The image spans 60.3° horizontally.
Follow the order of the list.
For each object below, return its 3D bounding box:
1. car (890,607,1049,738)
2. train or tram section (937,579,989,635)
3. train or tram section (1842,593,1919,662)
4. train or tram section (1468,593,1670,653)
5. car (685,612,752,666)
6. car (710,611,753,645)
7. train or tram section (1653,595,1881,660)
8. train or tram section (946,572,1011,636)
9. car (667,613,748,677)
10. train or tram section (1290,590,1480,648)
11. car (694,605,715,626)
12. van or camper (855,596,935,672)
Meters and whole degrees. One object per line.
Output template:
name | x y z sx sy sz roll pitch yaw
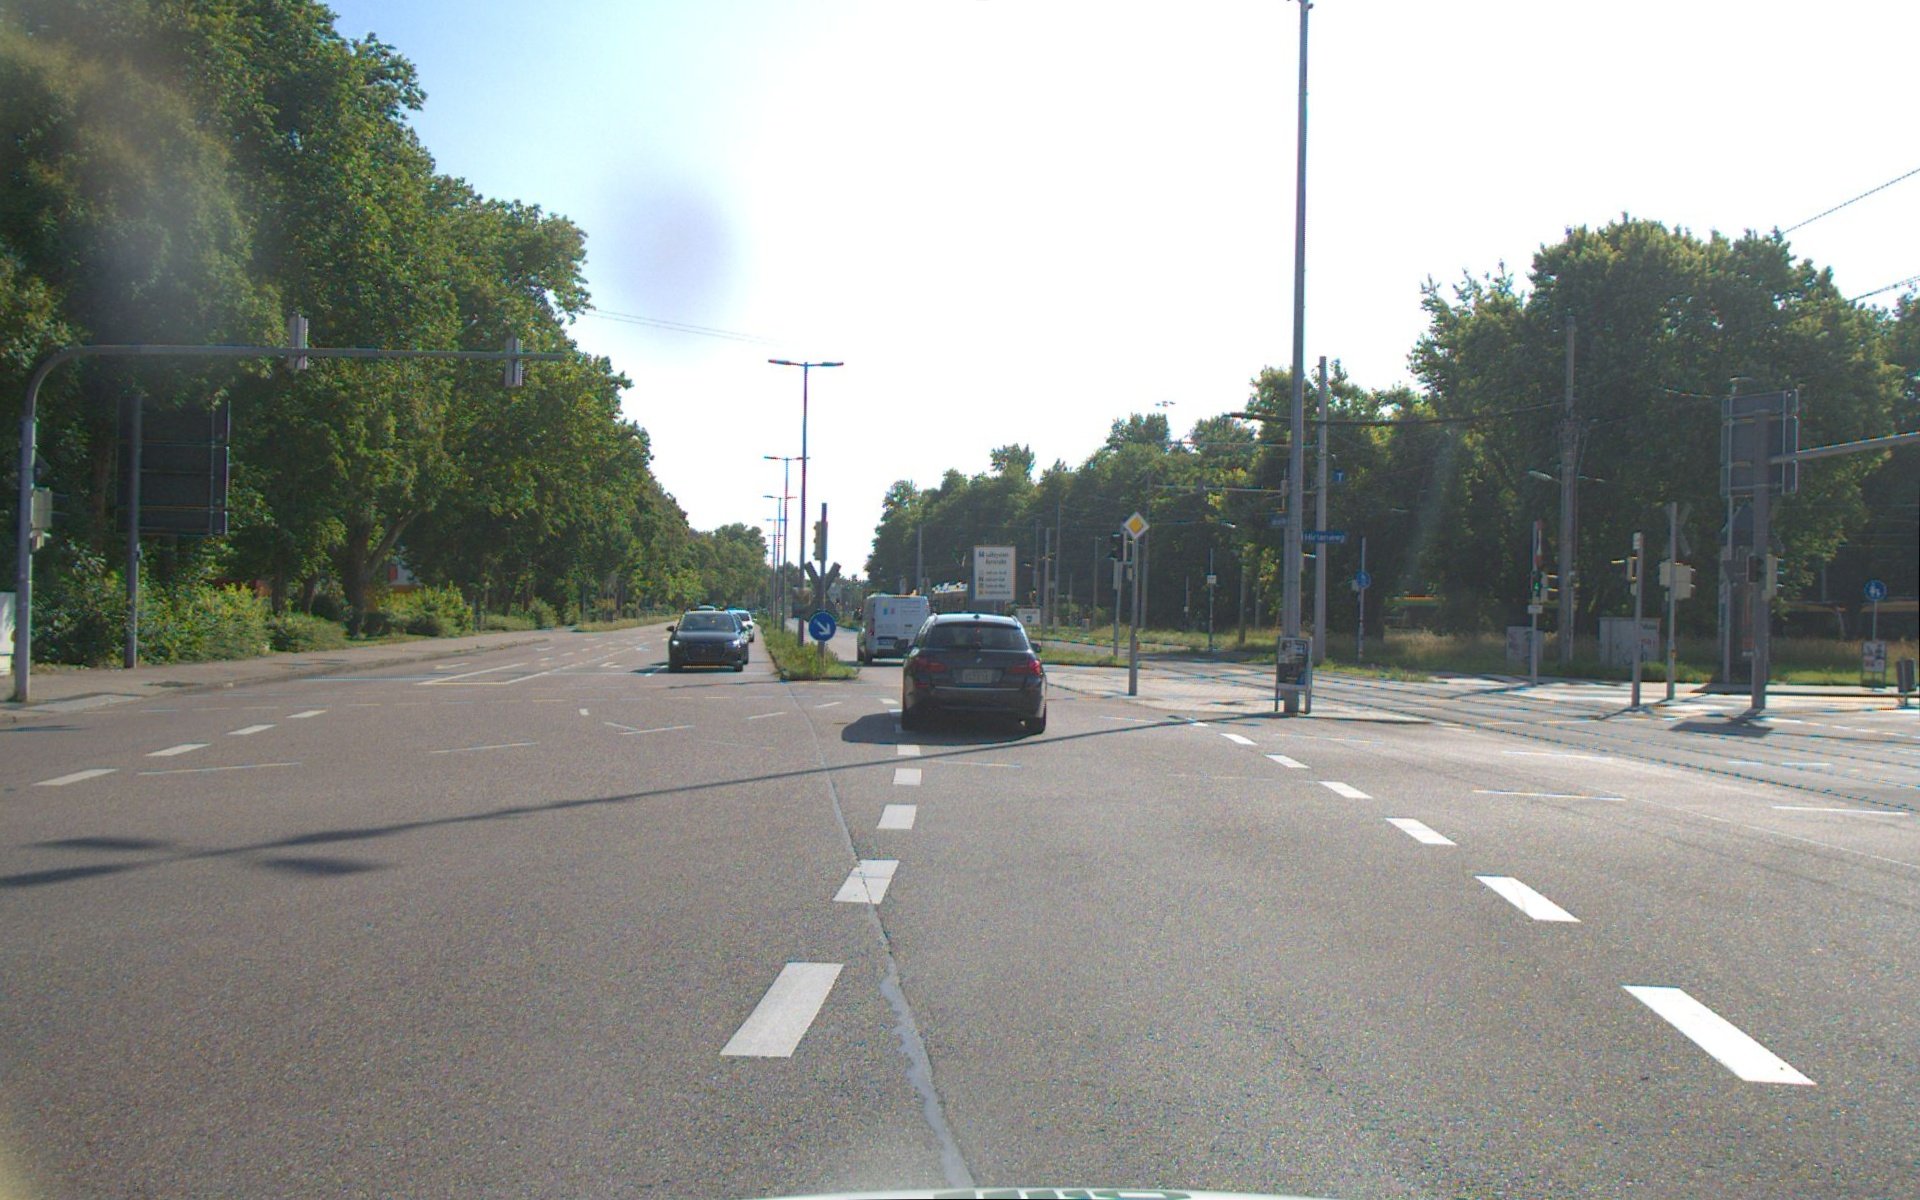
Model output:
car | 0.056 0.891 21.782 1.865 1.532 4.063 1 -1 -2
train or tram section | 0.108 0.586 115.793 2.696 3.616 11.245 2 -1 -4
train or tram section | 52.395 1.486 88.128 2.986 3.642 12.210 1 -1 -7
train or tram section | 39.306 1.454 106.950 11.956 3.642 3.050 1 -1 28
car | -6.876 1.083 47.327 1.794 1.460 4.373 0 0 -8
car | -10.830 1.314 78.659 1.813 1.503 4.640 1 -1 -6
train or tram section | 48.090 1.559 99.016 3.027 3.642 12.045 2 -1 -41
train or tram section | 1.051 0.343 103.765 2.742 3.682 12.941 2 -1 -5
car | -6.183 1.064 40.870 1.794 1.456 4.724 0 0 -7
train or tram section | 28.762 1.269 112.039 12.148 3.642 3.053 1 -1 23
car | -22.977 1.355 148.914 1.755 1.803 4.562 1 0 -7
van or camper | -1.990 0.993 49.287 1.956 2.133 4.591 1 -1 -7
